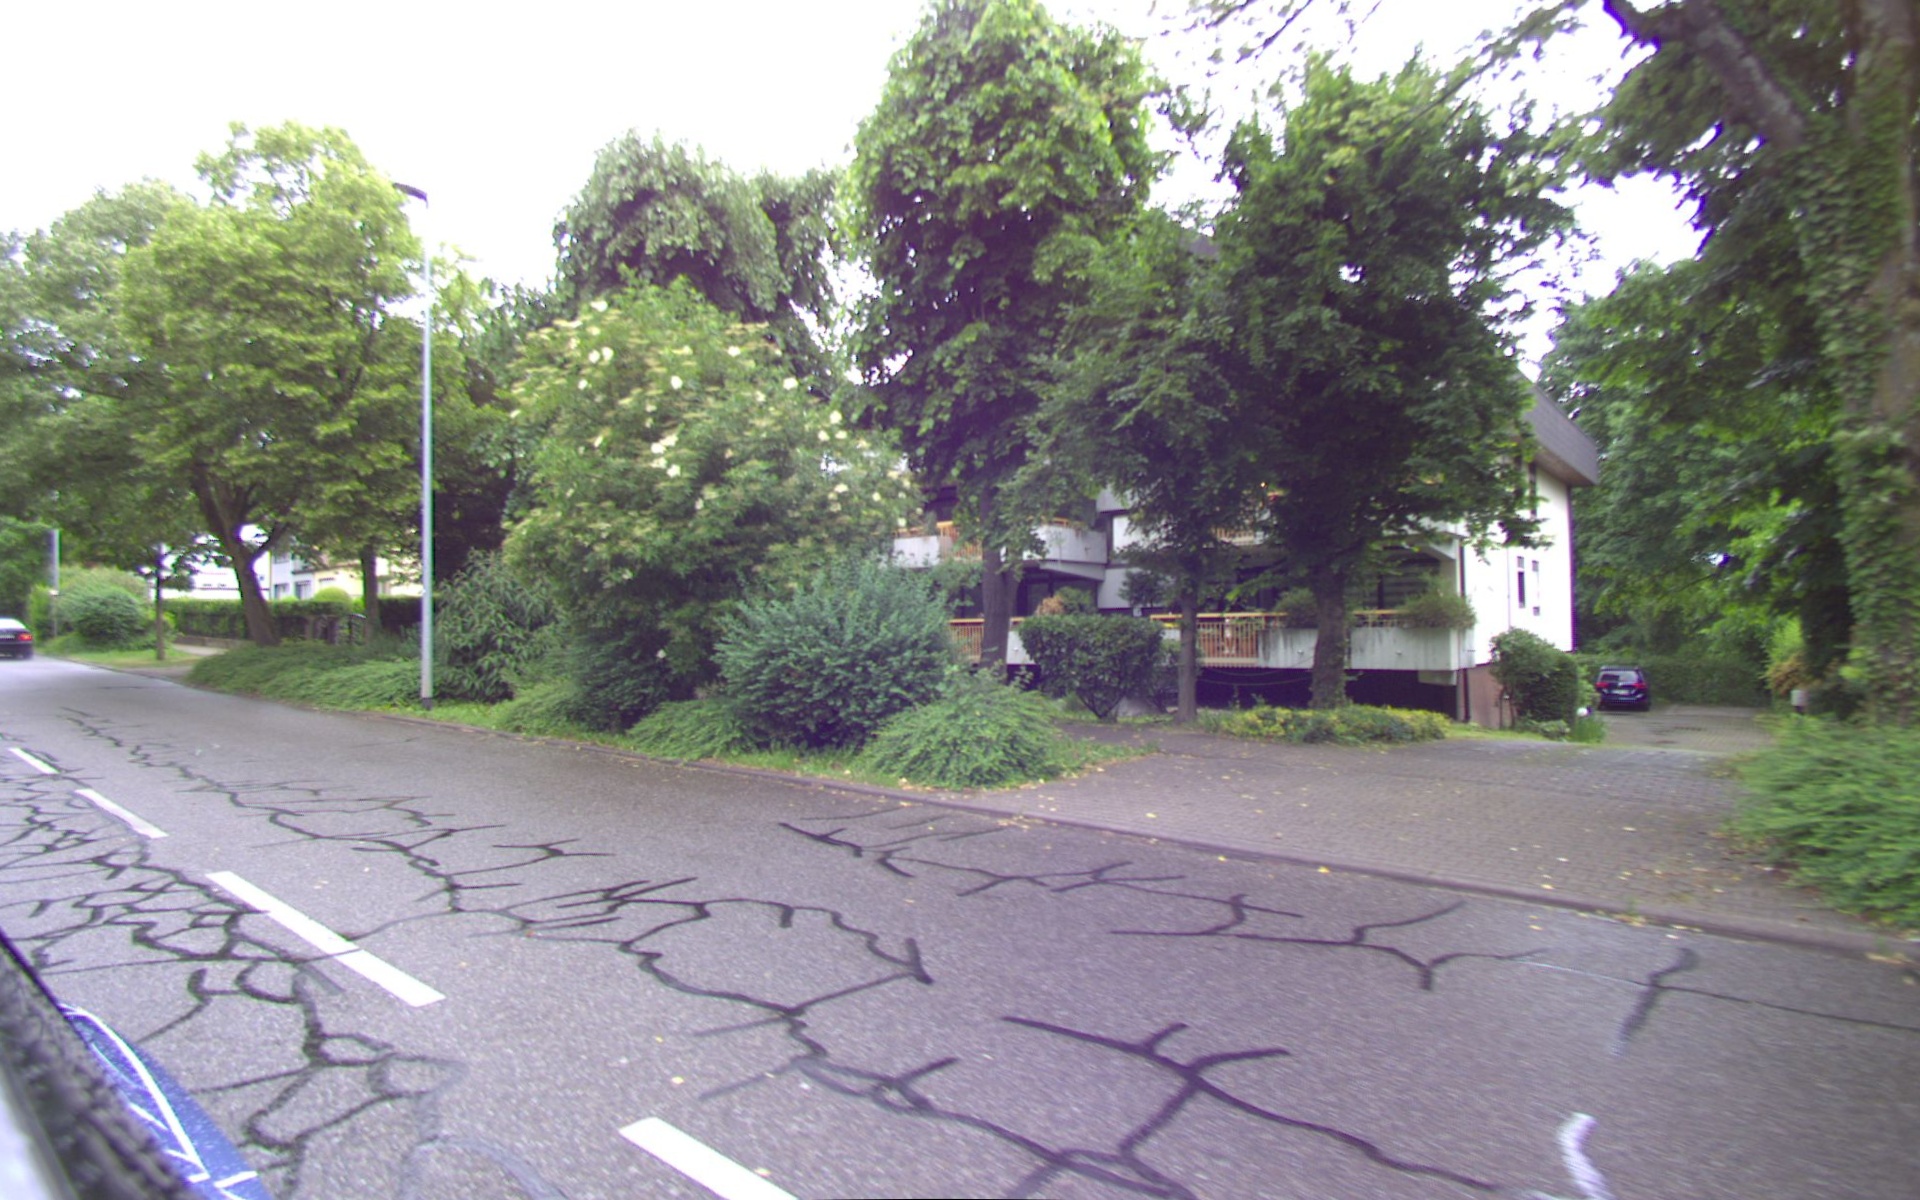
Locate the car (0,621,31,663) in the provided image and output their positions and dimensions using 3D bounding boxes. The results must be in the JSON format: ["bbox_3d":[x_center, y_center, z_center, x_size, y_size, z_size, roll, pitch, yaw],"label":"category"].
[{"bbox_3d":[-33.083,1.400,34.308,4.374,1.359,1.747,-1,-3,40],"label":"car"}]

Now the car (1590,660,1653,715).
[{"bbox_3d":[25.396,3.316,38.965,1.819,1.730,3.958,-1,0,31],"label":"car"}]
